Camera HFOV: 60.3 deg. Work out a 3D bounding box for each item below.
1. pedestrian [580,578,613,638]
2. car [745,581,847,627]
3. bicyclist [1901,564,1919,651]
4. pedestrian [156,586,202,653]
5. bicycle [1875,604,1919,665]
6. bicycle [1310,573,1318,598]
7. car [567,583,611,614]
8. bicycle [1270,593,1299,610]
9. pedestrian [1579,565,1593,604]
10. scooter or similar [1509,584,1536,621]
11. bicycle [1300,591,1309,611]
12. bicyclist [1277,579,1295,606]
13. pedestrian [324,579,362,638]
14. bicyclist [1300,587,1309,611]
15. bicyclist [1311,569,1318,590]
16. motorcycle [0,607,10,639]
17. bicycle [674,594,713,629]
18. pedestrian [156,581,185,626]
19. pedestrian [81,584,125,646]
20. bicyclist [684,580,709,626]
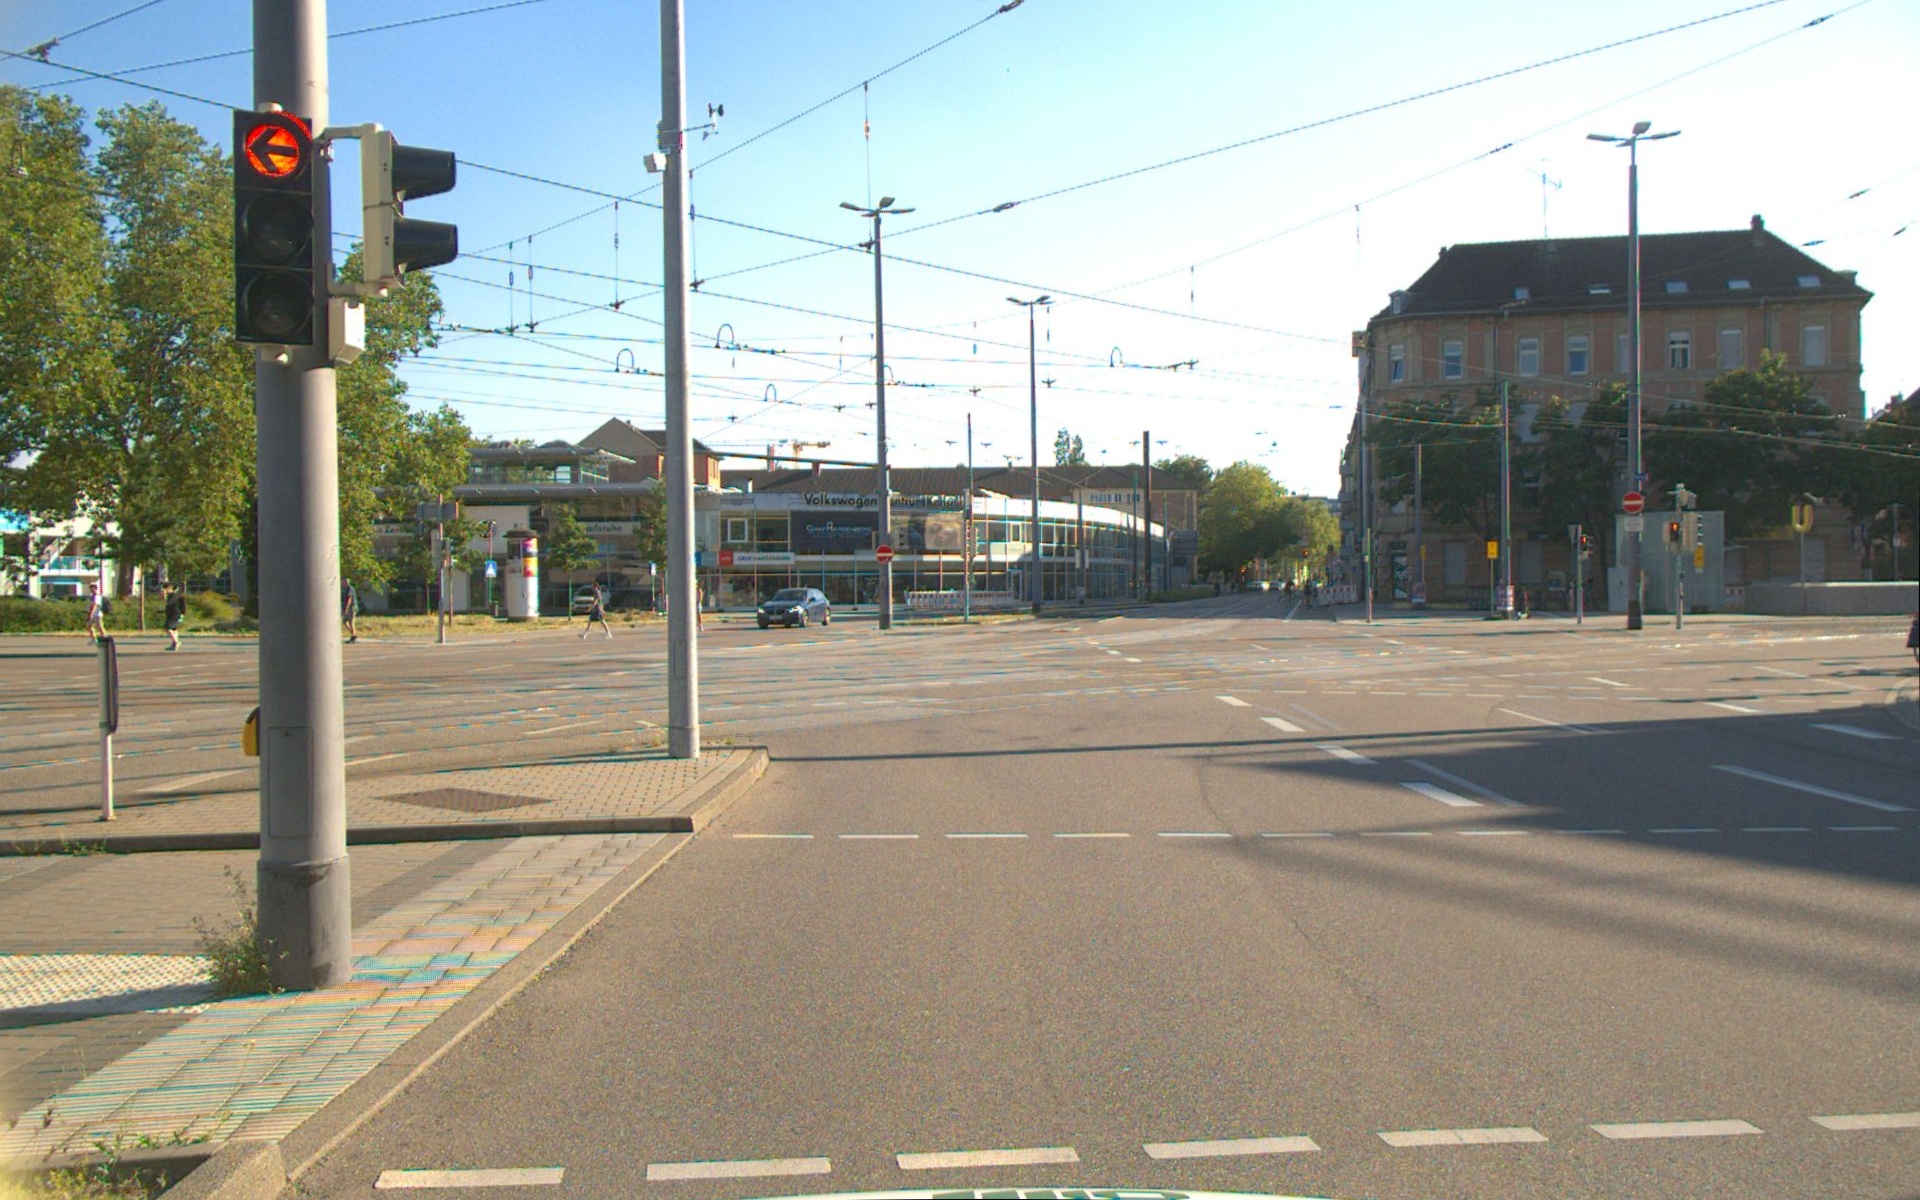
[{"bbox_3d":[-11.717,0.255,53.322,0.777,1.919,0.759,1,-1,6],"label":"pedestrian"},{"bbox_3d":[-6.059,0.165,61.624,1.954,1.613,3.996,1,0,26],"label":"car"},{"bbox_3d":[17.633,0.142,29.977,0.505,1.584,0.945,1,0,-9],"label":"bicyclist"},{"bbox_3d":[-20.583,0.502,43.592,0.777,1.736,0.759,1,-1,6],"label":"pedestrian"},{"bbox_3d":[17.629,0.645,29.968,0.524,1.067,2.316,1,1,-9],"label":"bicycle"},{"bbox_3d":[30.551,-1.248,142.576,0.604,2.049,2.402,1,0,13],"label":"bicycle"},{"bbox_3d":[-22.164,-0.057,98.973,1.954,1.780,3.997,1,0,-4],"label":"car"},{"bbox_3d":[19.336,0.076,98.514,1.572,0.969,0.655,1,-1,43],"label":"bicycle"},{"bbox_3d":[32.595,-0.799,86.146,0.589,2.049,0.647,-1,0,14],"label":"pedestrian"},{"bbox_3d":[21.605,0.103,63.571,0.769,1.400,1.910,1,0,13],"label":"scooter or similar"},{"bbox_3d":[16.674,0.051,80.075,0.401,0.958,1.847,1,0,12],"label":"bicycle"},{"bbox_3d":[19.425,-0.458,98.430,0.749,1.604,0.768,0,-1,44],"label":"bicyclist"},{"bbox_3d":[-18.378,0.260,49.299,0.777,1.736,0.759,1,-1,6],"label":"pedestrian"},{"bbox_3d":[16.680,-0.037,80.166,0.399,1.136,0.399,1,-1,11],"label":"bicyclist"},{"bbox_3d":[30.574,-1.777,142.505,0.586,1.840,0.828,1,-1,12],"label":"bicyclist"},{"bbox_3d":[-28.933,0.666,48.488,1.748,0.930,0.675,1,0,-21],"label":"motorcycle"},{"bbox_3d":[-9.580,0.420,59.471,0.599,1.210,1.870,1,0,17],"label":"bicycle"},{"bbox_3d":[-30.335,0.124,63.566,0.839,1.723,0.496,1,-1,-3],"label":"pedestrian"},{"bbox_3d":[-24.082,0.418,46.501,0.777,1.736,0.759,1,-1,6],"label":"pedestrian"},{"bbox_3d":[-9.512,0.095,59.671,0.585,1.644,0.823,1,-1,16],"label":"bicyclist"}]
